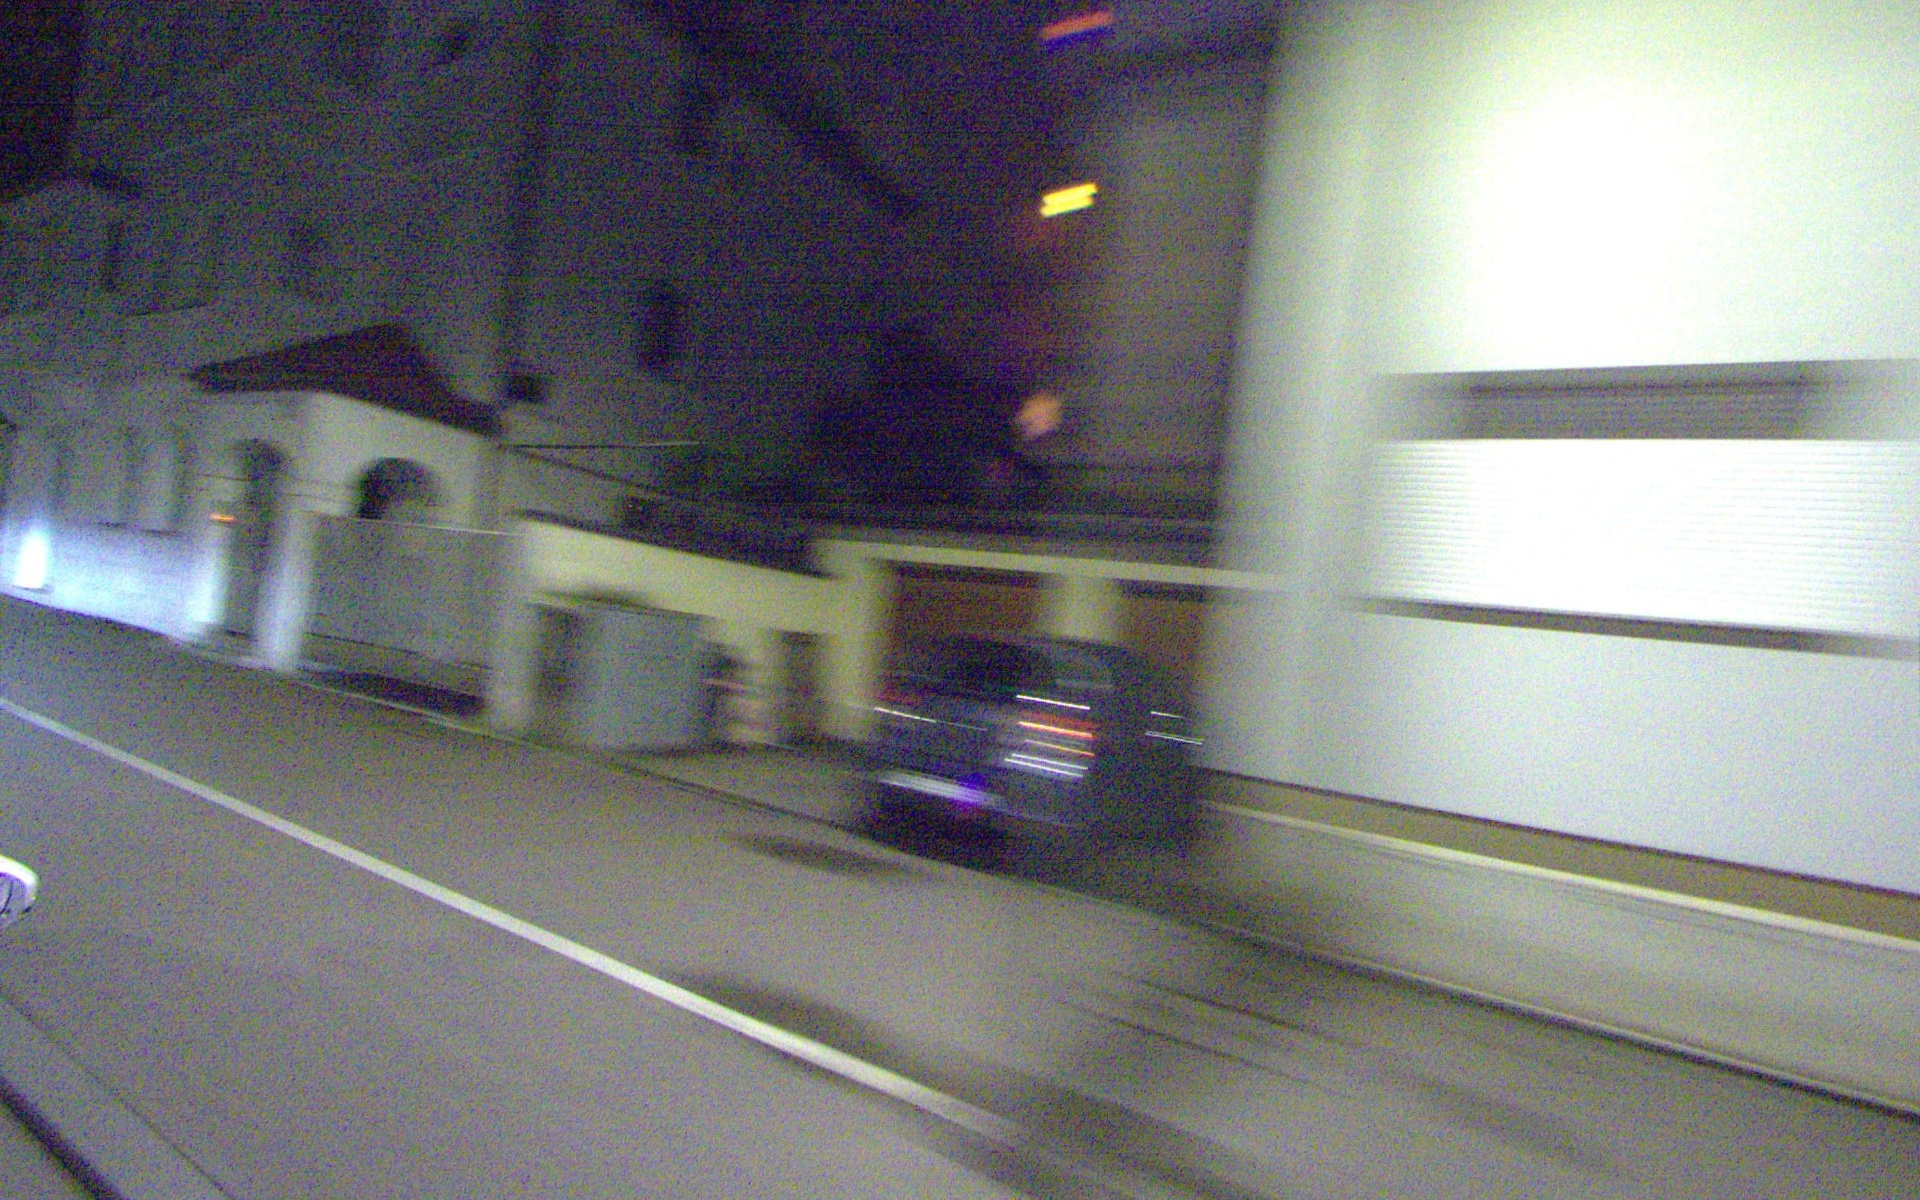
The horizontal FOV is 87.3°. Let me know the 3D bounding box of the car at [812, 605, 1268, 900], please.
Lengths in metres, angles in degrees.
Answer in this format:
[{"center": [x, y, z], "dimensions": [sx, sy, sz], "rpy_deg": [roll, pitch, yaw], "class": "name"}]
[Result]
[{"center": [0.849, 1.045, 7.589], "dimensions": [1.703, 1.489, 3.717], "rpy_deg": [6, -3, 34], "class": "car"}]
